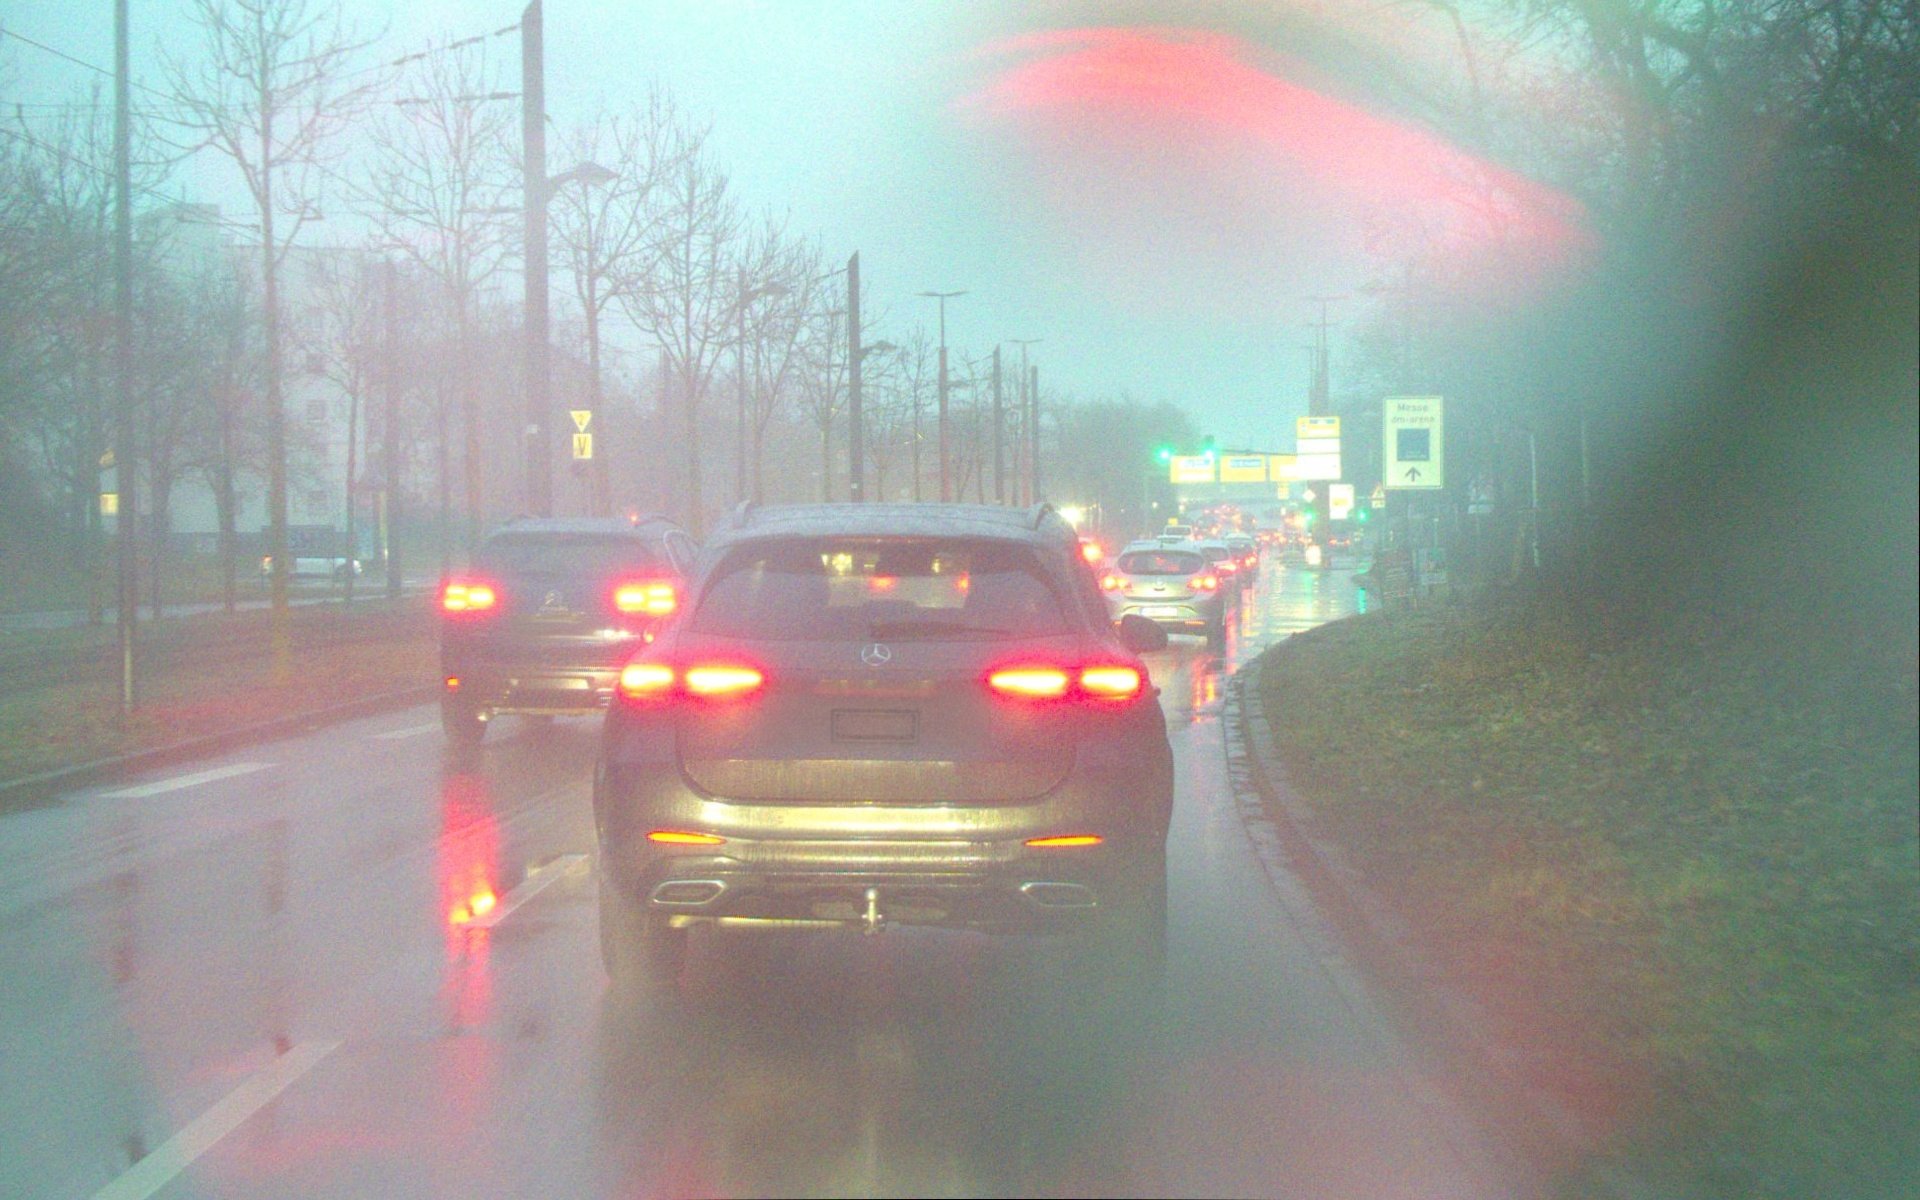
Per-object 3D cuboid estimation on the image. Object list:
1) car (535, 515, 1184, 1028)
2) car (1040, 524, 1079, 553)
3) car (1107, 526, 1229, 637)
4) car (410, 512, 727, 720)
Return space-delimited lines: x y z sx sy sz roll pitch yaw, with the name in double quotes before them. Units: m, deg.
"car" -0.343 0.488 12.626 1.998 1.578 4.000 0 1 -1
"car" 5.893 -3.663 203.273 1.994 1.660 3.836 -1 1 5
"car" 3.048 -0.291 50.421 1.709 1.552 3.996 0 1 3
"car" -2.905 0.061 26.316 1.880 1.454 4.000 -1 1 1
